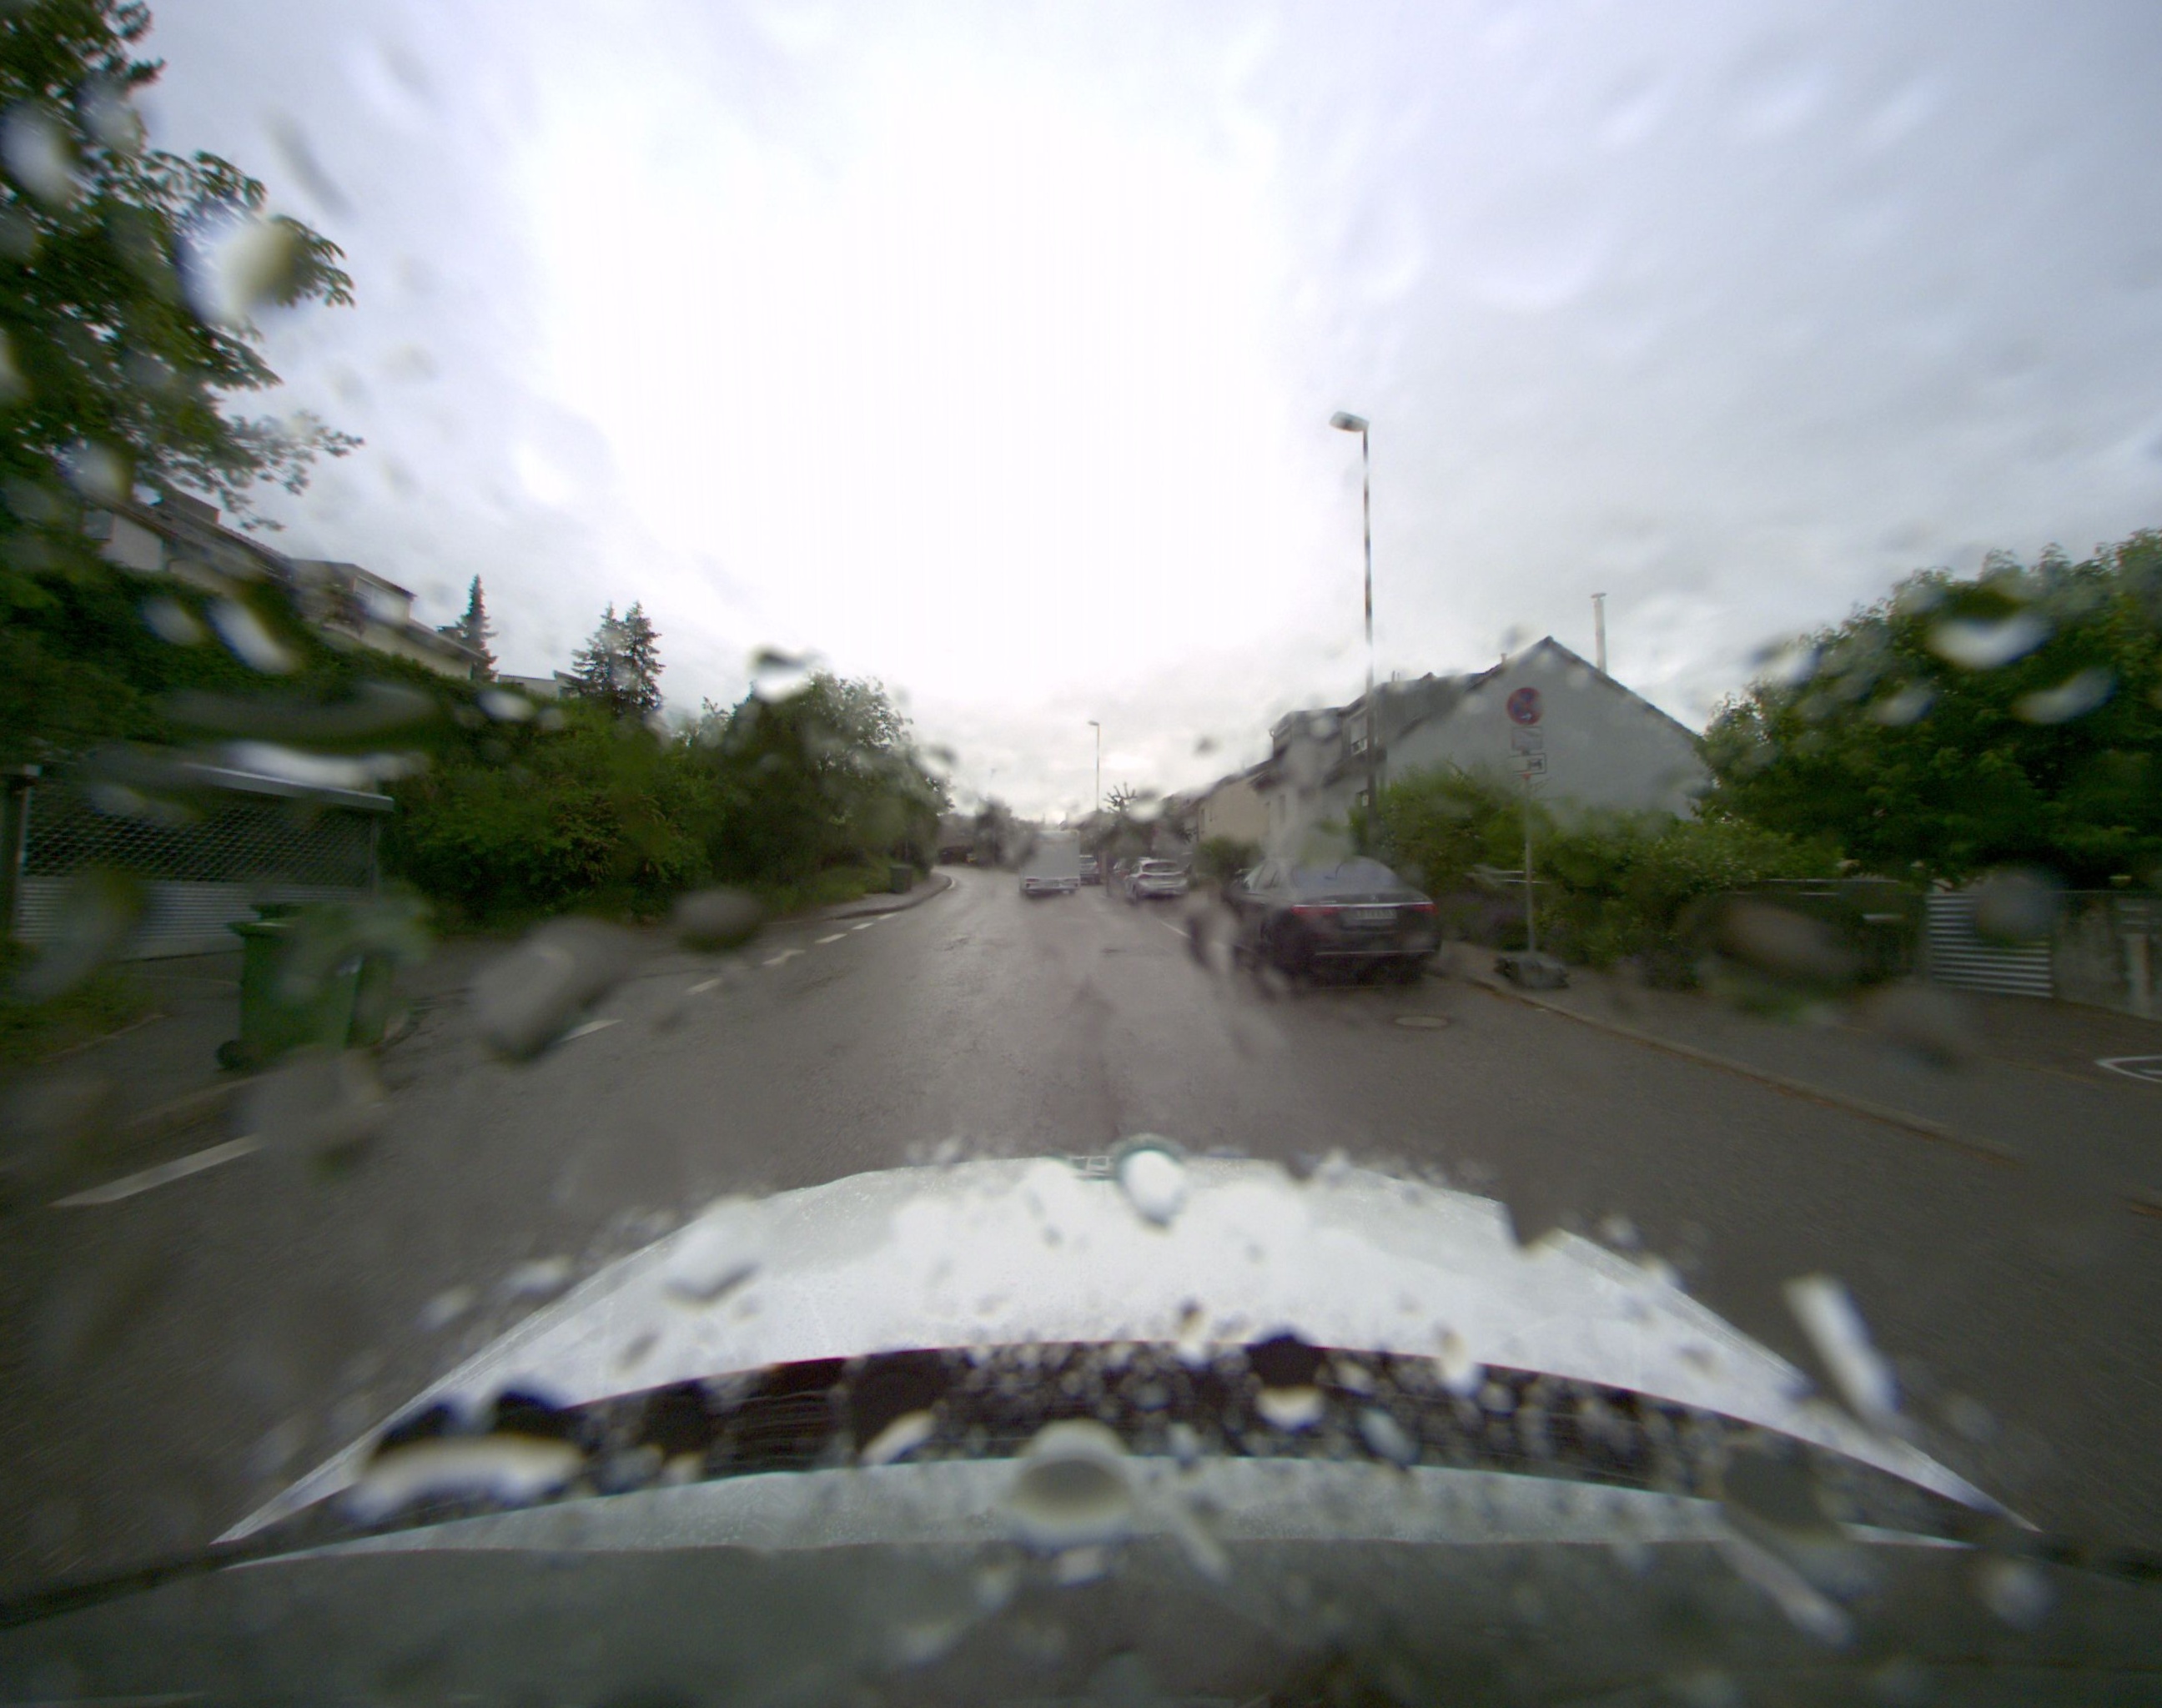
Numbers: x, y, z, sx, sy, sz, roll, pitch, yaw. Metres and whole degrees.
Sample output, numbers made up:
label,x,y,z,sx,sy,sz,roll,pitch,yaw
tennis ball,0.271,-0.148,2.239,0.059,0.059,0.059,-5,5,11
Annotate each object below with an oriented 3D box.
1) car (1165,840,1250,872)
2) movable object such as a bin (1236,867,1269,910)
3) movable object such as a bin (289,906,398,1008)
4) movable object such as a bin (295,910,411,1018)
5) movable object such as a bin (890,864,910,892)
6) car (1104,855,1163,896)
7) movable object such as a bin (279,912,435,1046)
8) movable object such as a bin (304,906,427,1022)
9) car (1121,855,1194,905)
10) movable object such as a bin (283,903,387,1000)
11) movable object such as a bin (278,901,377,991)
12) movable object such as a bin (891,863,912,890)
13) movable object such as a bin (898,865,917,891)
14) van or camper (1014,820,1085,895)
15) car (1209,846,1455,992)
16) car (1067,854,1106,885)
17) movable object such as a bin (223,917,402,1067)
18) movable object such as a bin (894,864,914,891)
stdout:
label,x,y,z,sx,sy,sz,roll,pitch,yaw
car,6.429,0.110,41.645,3.979,1.590,1.932,0,-2,-4
movable object such as a bin,4.321,0.864,20.571,0.674,1.068,0.645,-1,0,-3
movable object such as a bin,-8.204,1.115,9.064,0.710,1.028,0.785,0,-2,41
movable object such as a bin,-7.663,1.122,8.581,0.710,1.028,0.785,0,-2,41
movable object such as a bin,-7.196,0.939,32.399,0.768,1.096,0.735,-1,-1,-11
car,2.015,0.812,32.416,1.657,1.467,3.754,-2,0,-7
movable object such as a bin,-6.178,1.038,7.003,0.781,1.028,0.713,3,-2,-26
movable object such as a bin,-7.108,1.055,8.096,0.710,1.028,0.785,0,-2,41
car,2.452,0.806,27.203,1.765,1.467,4.229,-2,0,-3
movable object such as a bin,-8.755,1.112,9.556,0.710,1.028,0.785,0,-2,41
movable object such as a bin,-9.288,1.105,10.044,0.710,1.028,0.785,0,-2,41
movable object such as a bin,-7.304,0.905,33.171,0.768,1.096,0.735,-1,-1,-11
movable object such as a bin,-7.378,1.021,34.650,0.768,1.068,0.688,-1,-1,-11
van or camper,-1.447,0.168,34.617,2.538,2.925,5.933,0,-1,-7
car,3.146,0.708,11.439,1.851,1.527,5.063,-2,0,0
car,0.283,0.849,46.777,1.801,1.626,4.279,-2,0,-5
movable object such as a bin,-5.905,1.023,6.318,0.781,1.028,0.713,3,-2,-26
movable object such as a bin,-7.358,0.958,33.923,0.768,1.096,0.669,-1,-1,-11
